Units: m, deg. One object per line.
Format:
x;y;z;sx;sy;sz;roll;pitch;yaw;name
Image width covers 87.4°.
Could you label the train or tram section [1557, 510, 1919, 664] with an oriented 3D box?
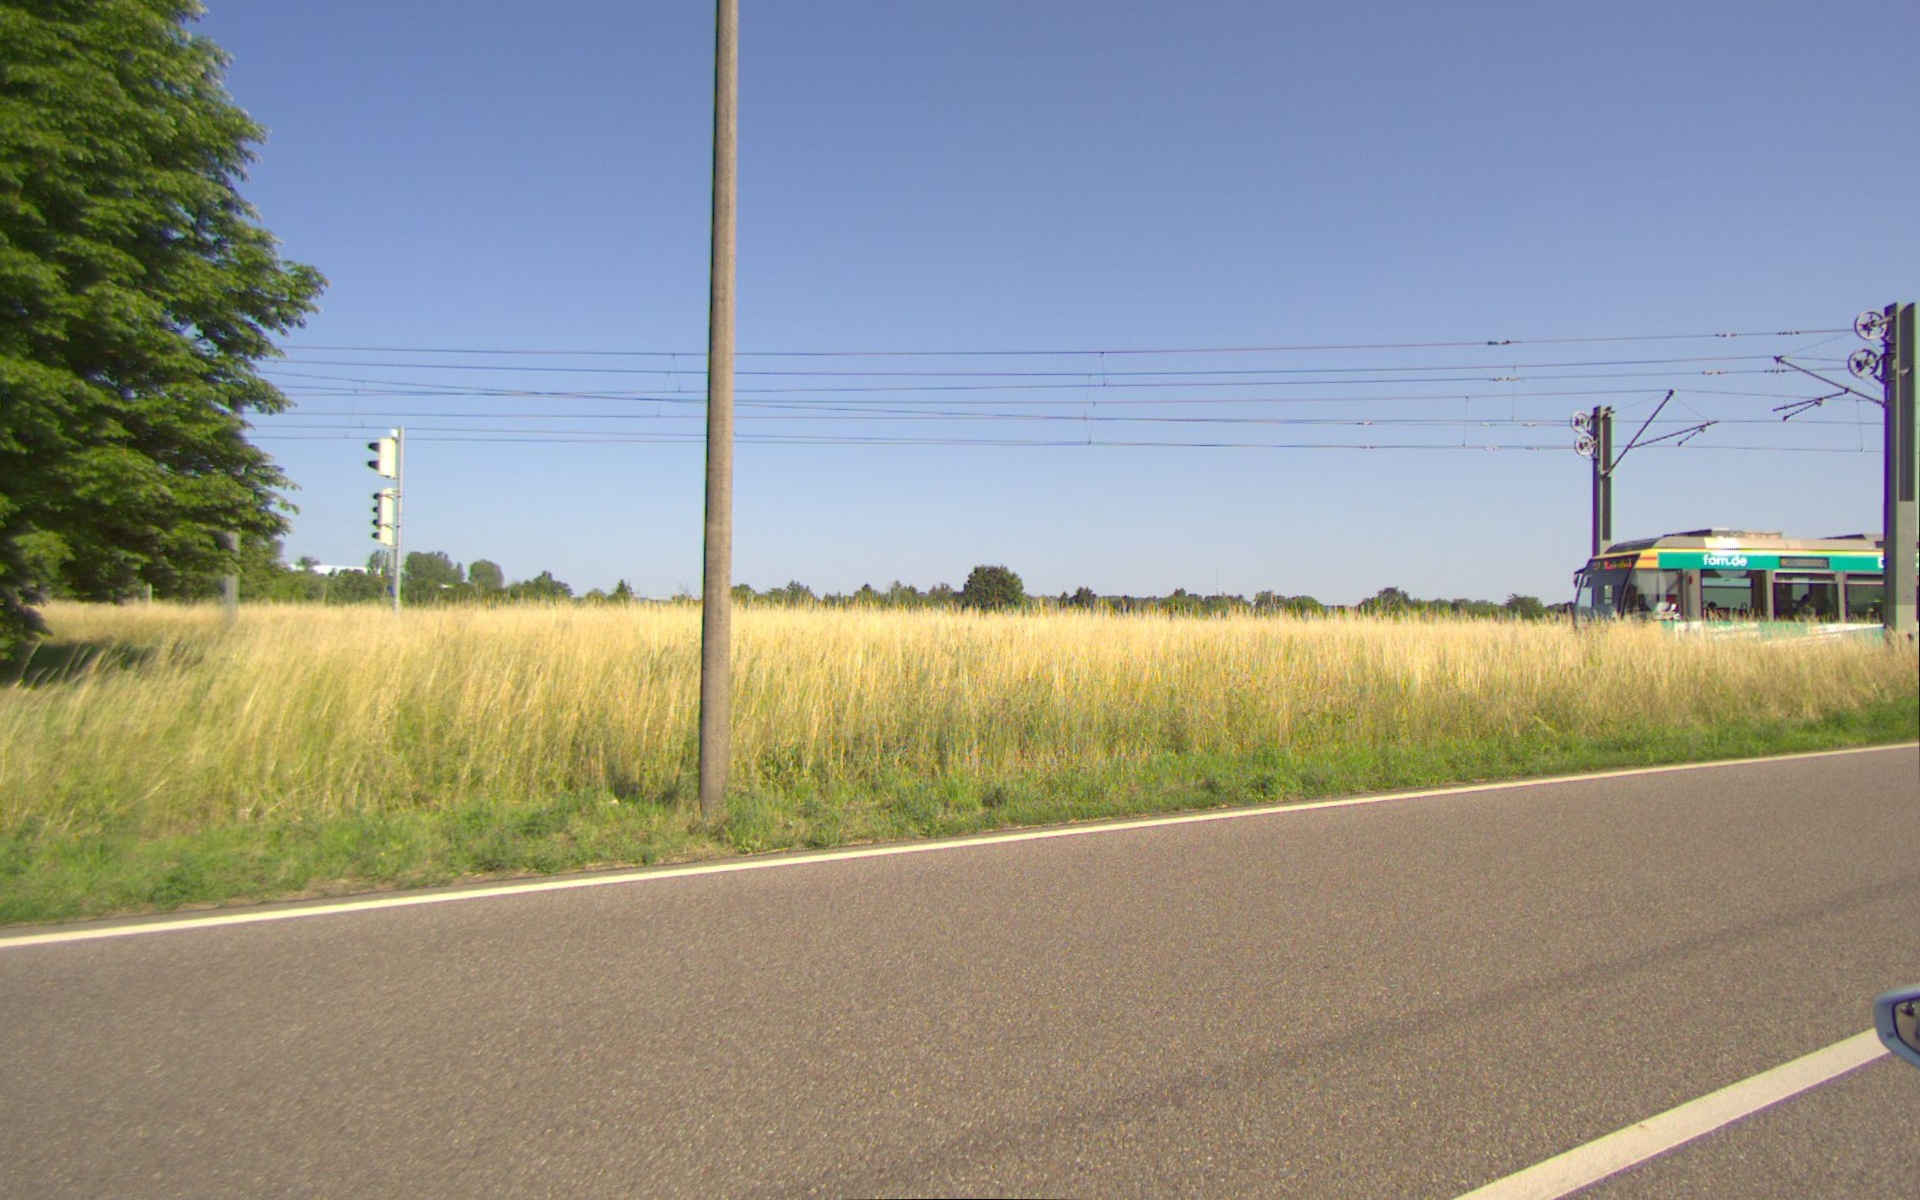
22.128;-0.245;25.725;11.926;3.531;2.959;1;0;-1;train or tram section
